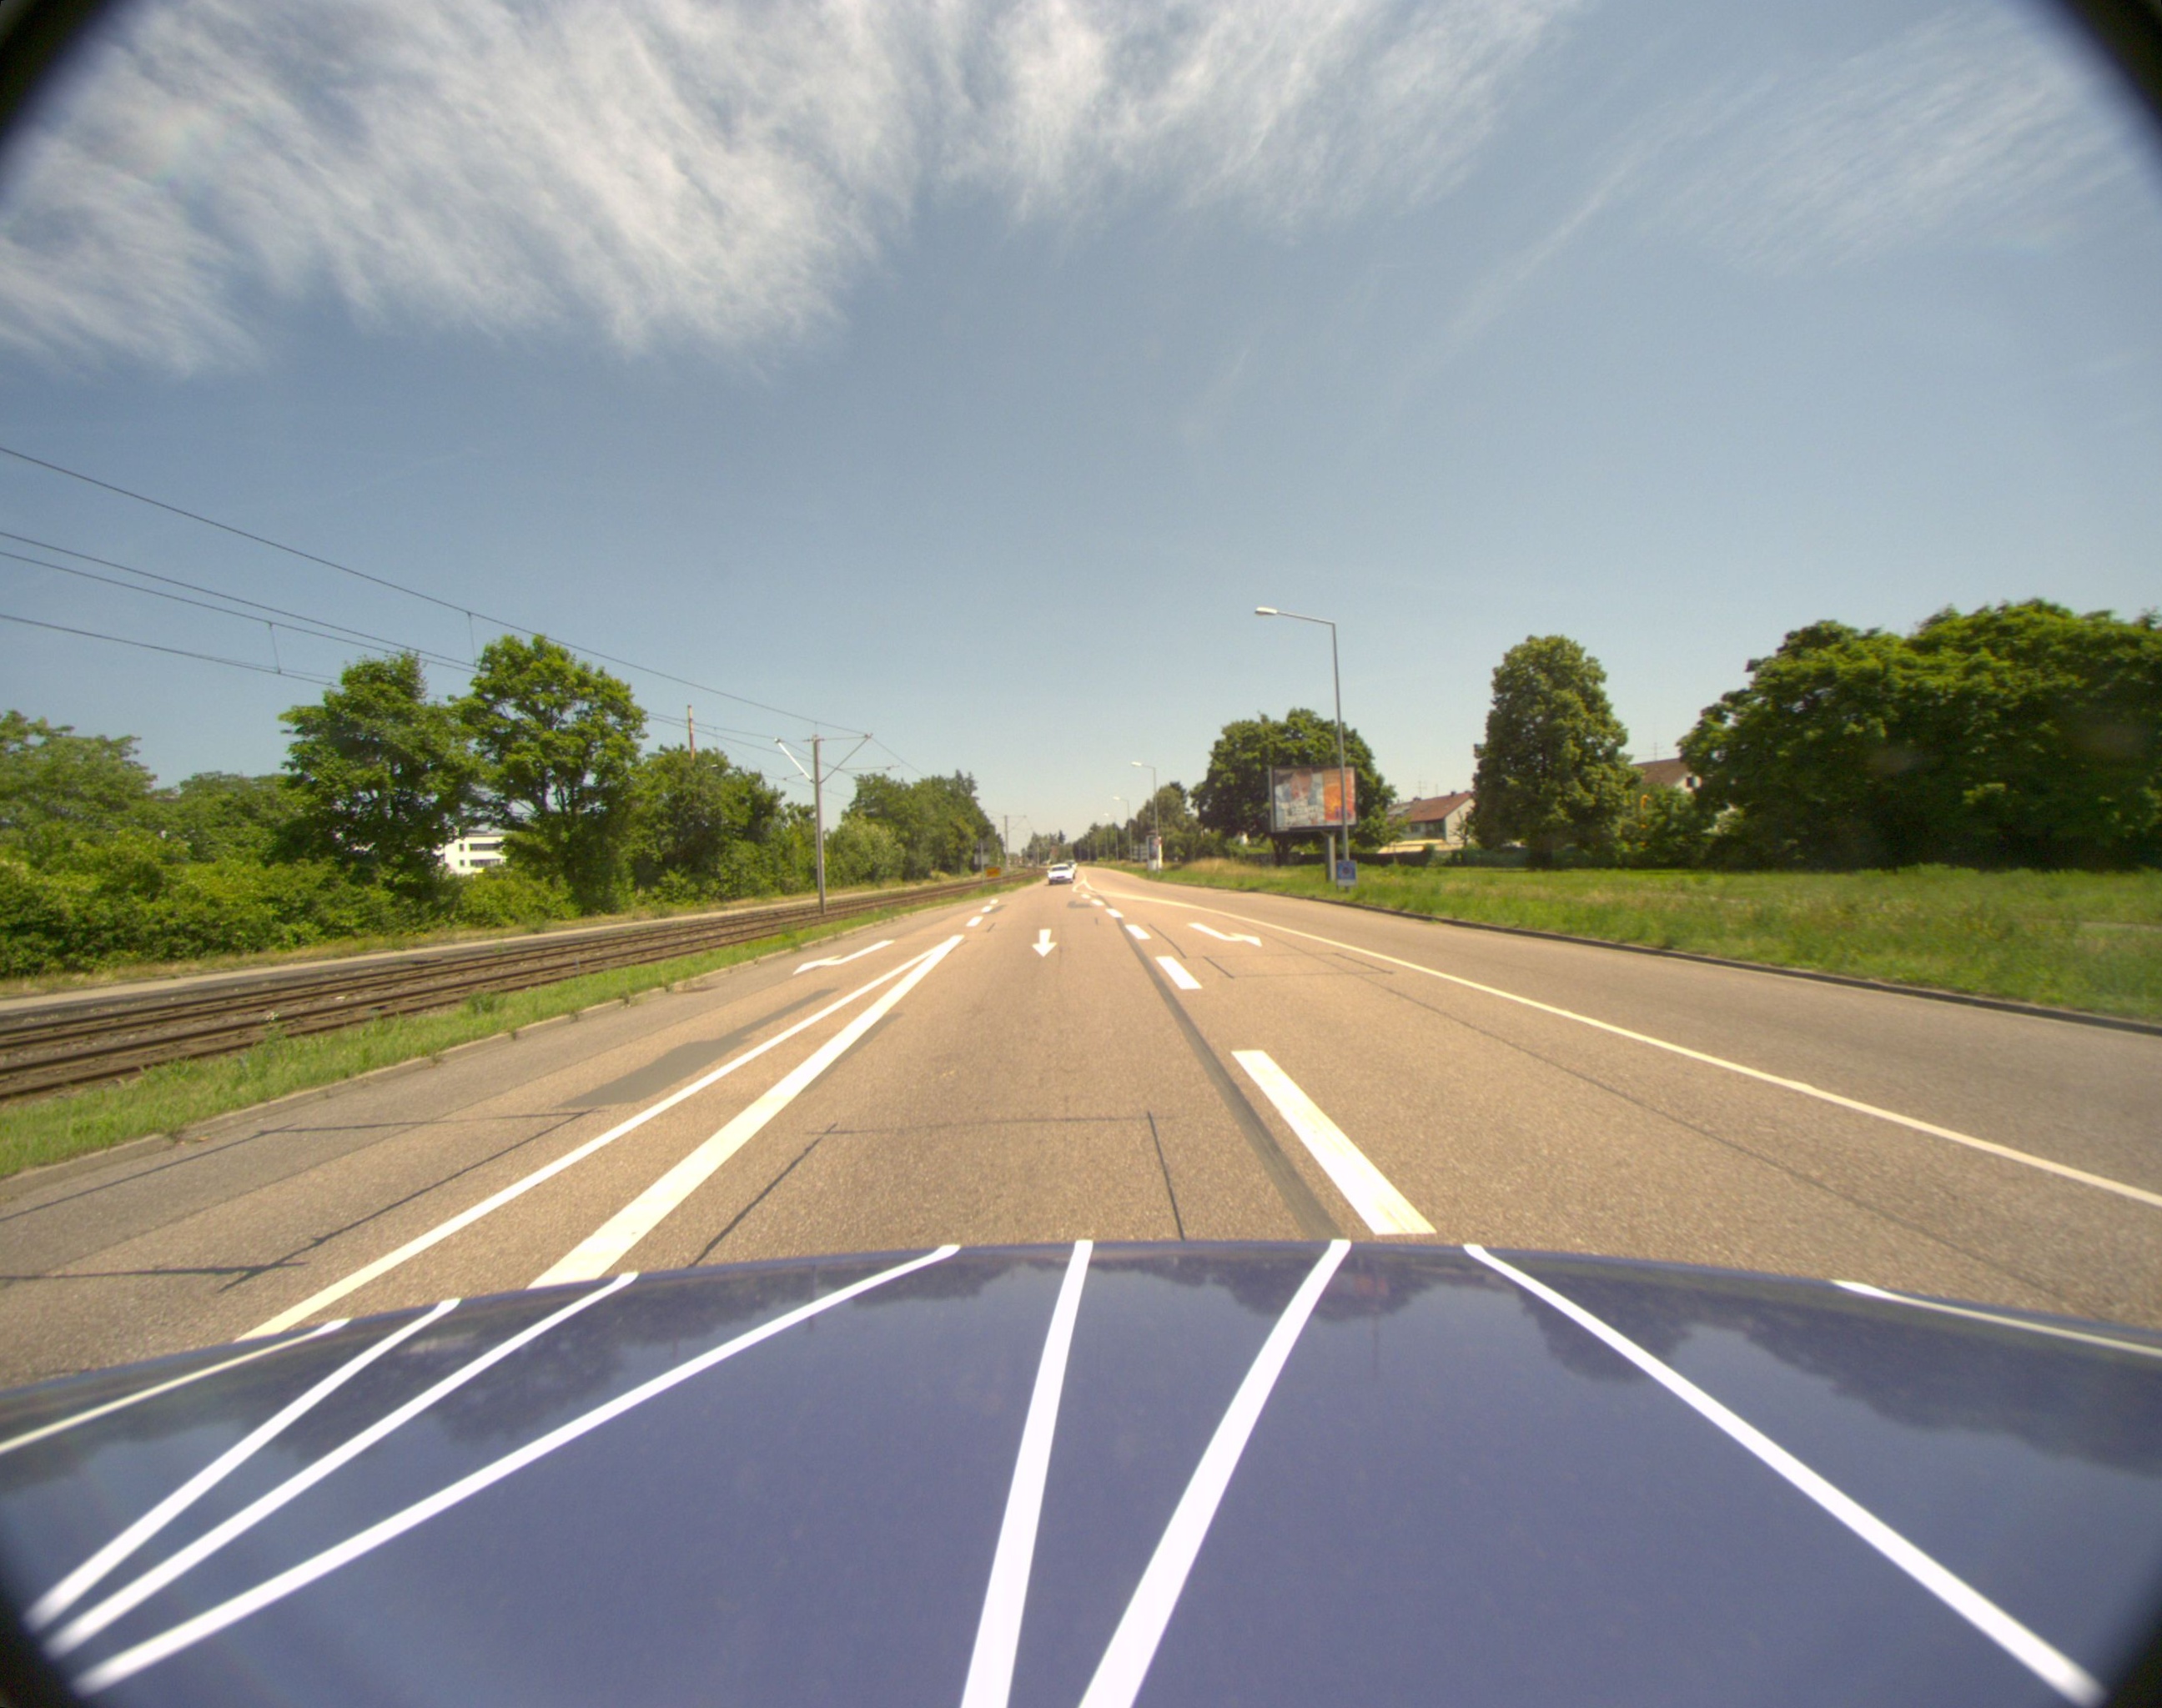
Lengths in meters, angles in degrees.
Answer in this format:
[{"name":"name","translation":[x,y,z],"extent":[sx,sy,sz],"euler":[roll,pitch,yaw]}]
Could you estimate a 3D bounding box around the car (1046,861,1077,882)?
[{"name":"car","translation":[-1.442,1.291,57.370],"extent":[1.954,1.467,4.362],"euler":[-3,0,3]}]
